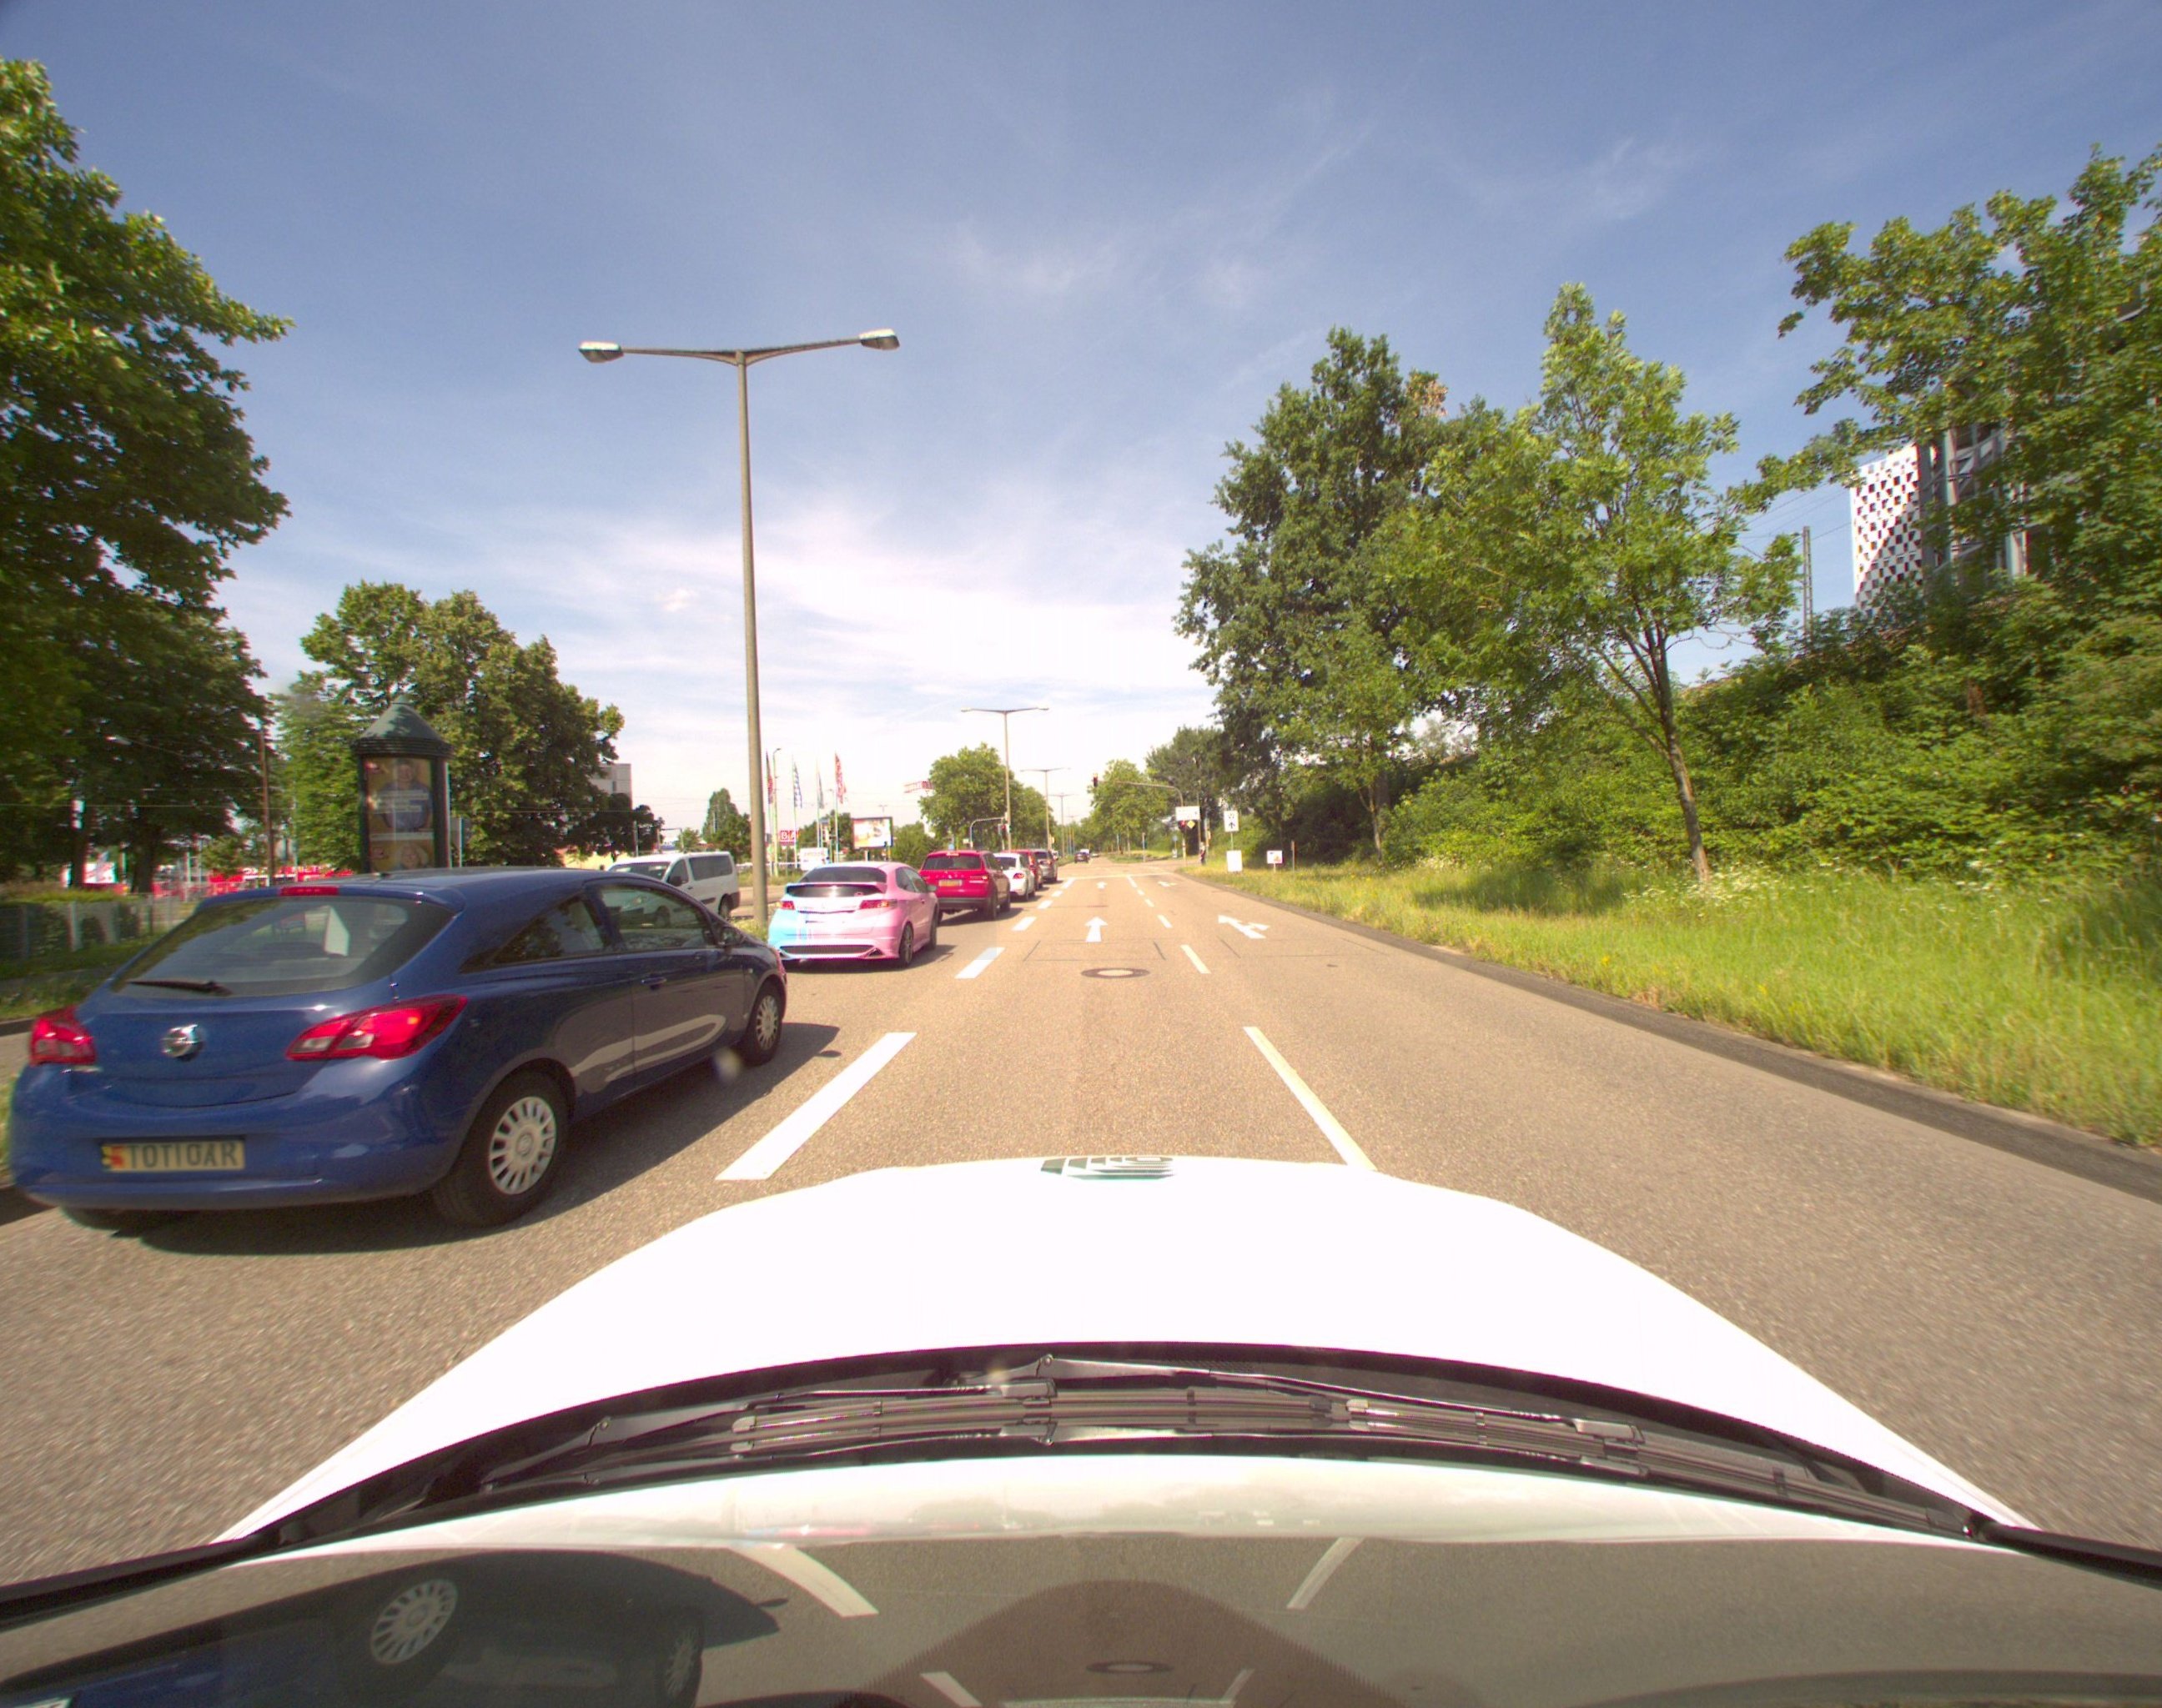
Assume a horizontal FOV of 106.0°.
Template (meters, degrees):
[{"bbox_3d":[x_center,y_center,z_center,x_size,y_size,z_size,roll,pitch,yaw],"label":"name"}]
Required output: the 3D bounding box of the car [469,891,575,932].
[{"bbox_3d":[-22.087,2.243,32.184,3.949,1.388,1.776,-2,1,28],"label":"car"}]

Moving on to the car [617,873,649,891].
[{"bbox_3d":[-45.535,2.823,82.749,2.011,1.684,3.952,-3,0,-40],"label":"car"}]

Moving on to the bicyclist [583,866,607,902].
[{"bbox_3d":[-23.910,1.461,40.078,0.904,1.646,0.780,-3,3,-35],"label":"bicyclist"}]

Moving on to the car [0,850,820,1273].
[{"bbox_3d":[-3.082,0.727,4.913,1.620,1.483,4.049,-1,0,1],"label":"car"}]

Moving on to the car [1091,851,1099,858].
[{"bbox_3d":[3.404,0.218,200.966,1.861,1.574,4.002,-3,0,2],"label":"car"}]

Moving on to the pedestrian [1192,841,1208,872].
[{"bbox_3d":[7.695,0.159,52.772,0.835,1.932,0.771,-2,2,-2],"label":"pedestrian"}]

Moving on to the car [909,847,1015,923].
[{"bbox_3d":[-2.738,0.647,19.728,1.776,1.593,4.594,-1,0,1],"label":"car"}]

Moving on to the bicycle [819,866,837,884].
[{"bbox_3d":[-18.188,1.503,58.639,0.671,1.256,2.244,-3,0,-4],"label":"bicycle"}]

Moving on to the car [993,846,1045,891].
[{"bbox_3d":[-2.417,0.572,32.464,1.623,1.596,3.918,-2,-1,1],"label":"car"}]

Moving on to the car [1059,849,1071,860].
[{"bbox_3d":[-2.808,0.072,144.958,1.986,1.895,4.377,-2,0,1],"label":"car"}]

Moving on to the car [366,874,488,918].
[{"bbox_3d":[-27.474,1.745,34.250,4.121,1.603,1.729,-3,0,13],"label":"car"}]

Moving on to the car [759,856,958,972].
[{"bbox_3d":[-3.116,0.751,12.387,1.696,1.390,4.473,-1,0,1],"label":"car"}]

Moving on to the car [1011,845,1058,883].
[{"bbox_3d":[-2.165,0.449,38.954,1.875,1.618,4.213,-2,0,1],"label":"car"}]

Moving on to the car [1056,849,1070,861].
[{"bbox_3d":[-2.864,0.141,130.247,1.987,1.895,4.376,-2,0,1],"label":"car"}]

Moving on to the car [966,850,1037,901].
[{"bbox_3d":[-2.433,0.614,25.965,1.760,1.479,4.136,-1,0,1],"label":"car"}]

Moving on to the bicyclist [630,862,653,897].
[{"bbox_3d":[-22.569,1.287,41.841,0.904,1.715,0.774,-3,3,-35],"label":"bicyclist"}]

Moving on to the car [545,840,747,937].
[{"bbox_3d":[-10.492,0.732,20.238,1.986,2.013,5.215,-3,0,1],"label":"car"}]

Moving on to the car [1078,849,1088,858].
[{"bbox_3d":[0.456,-0.144,170.309,1.986,1.708,4.265,-3,0,2],"label":"car"}]

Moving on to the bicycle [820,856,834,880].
[{"bbox_3d":[-18.213,1.002,58.474,0.671,1.615,0.991,-3,0,-4],"label":"bicycle"}]

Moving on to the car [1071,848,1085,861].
[{"bbox_3d":[-0.444,0.014,113.714,1.730,1.535,4.003,-2,2,2],"label":"car"}]
